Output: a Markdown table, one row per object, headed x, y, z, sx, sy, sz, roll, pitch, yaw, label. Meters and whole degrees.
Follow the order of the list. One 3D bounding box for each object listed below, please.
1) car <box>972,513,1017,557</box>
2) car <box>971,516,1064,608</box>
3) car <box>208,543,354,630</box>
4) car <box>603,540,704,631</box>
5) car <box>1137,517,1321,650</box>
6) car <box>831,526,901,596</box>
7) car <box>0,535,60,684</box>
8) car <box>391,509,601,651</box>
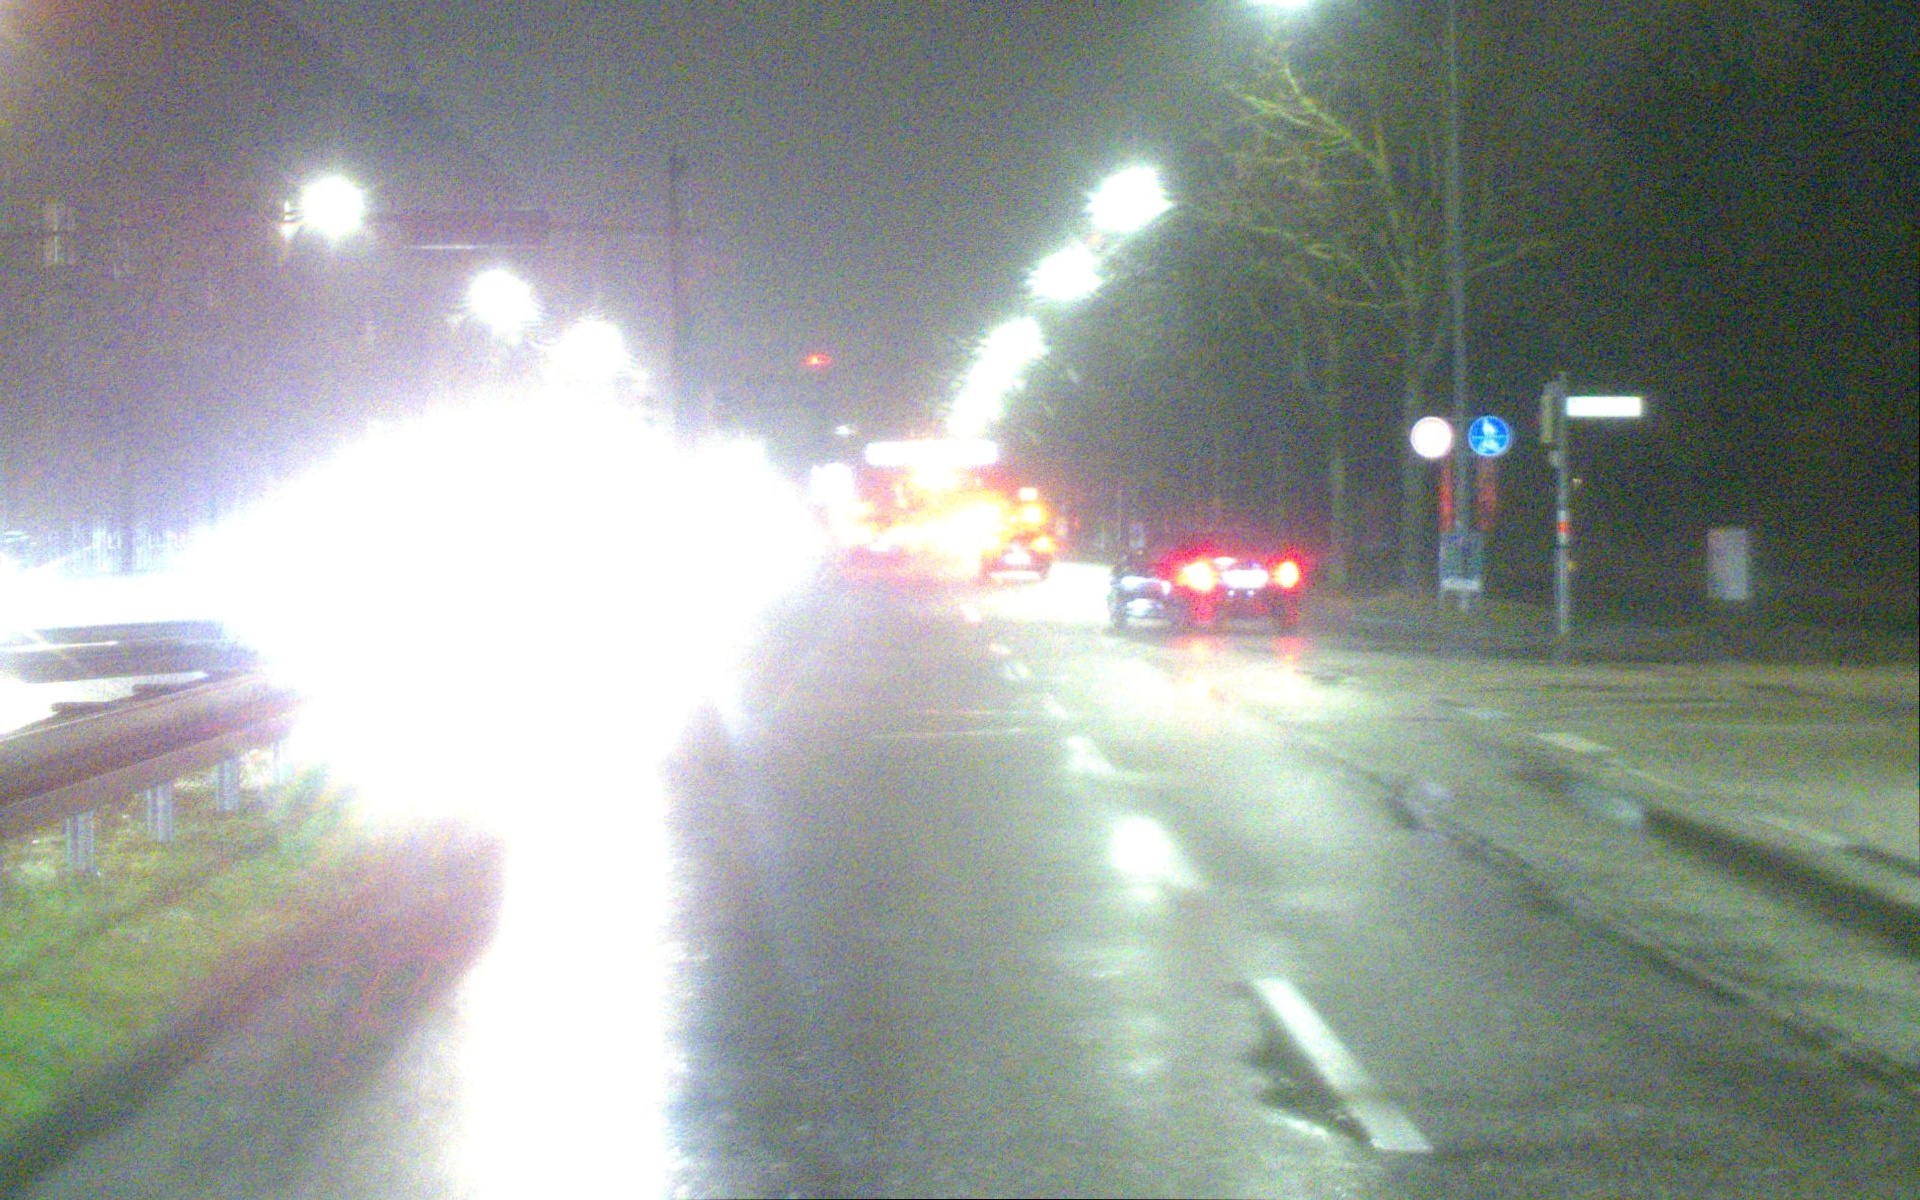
| x | y | z | sx | sy | sz | roll | pitch | yaw | label |
| --- | --- | --- | --- | --- | --- | --- | --- | --- | --- |
| 1.614 | -3.011 | 160.594 | 2.038 | 2.007 | 4.307 | 0 | 0 | 1 | car |
| 1.400 | -0.921 | 84.809 | 2.208 | 2.207 | 3.643 | 0 | 0 | 0 | car |
| -12.555 | -0.261 | 63.801 | 1.885 | 1.547 | 4.433 | 0 | 0 | -1 | car |
| -7.027 | -0.350 | 79.089 | 1.993 | 2.007 | 4.000 | -1 | 1 | -1 | car |
| 3.689 | -0.233 | 47.813 | 1.902 | 1.774 | 4.001 | 0 | 0 | -5 | car |
| -2.745 | -1.128 | 100.947 | 1.993 | 2.007 | 4.000 | 0 | 0 | -1 | car |
| -12.025 | 0.119 | 40.896 | 1.749 | 1.703 | 4.499 | -2 | 1 | -5 | car |
| -5.520 | -0.241 | 41.457 | 1.993 | 1.604 | 4.971 | 0 | 0 | -2 | car |
